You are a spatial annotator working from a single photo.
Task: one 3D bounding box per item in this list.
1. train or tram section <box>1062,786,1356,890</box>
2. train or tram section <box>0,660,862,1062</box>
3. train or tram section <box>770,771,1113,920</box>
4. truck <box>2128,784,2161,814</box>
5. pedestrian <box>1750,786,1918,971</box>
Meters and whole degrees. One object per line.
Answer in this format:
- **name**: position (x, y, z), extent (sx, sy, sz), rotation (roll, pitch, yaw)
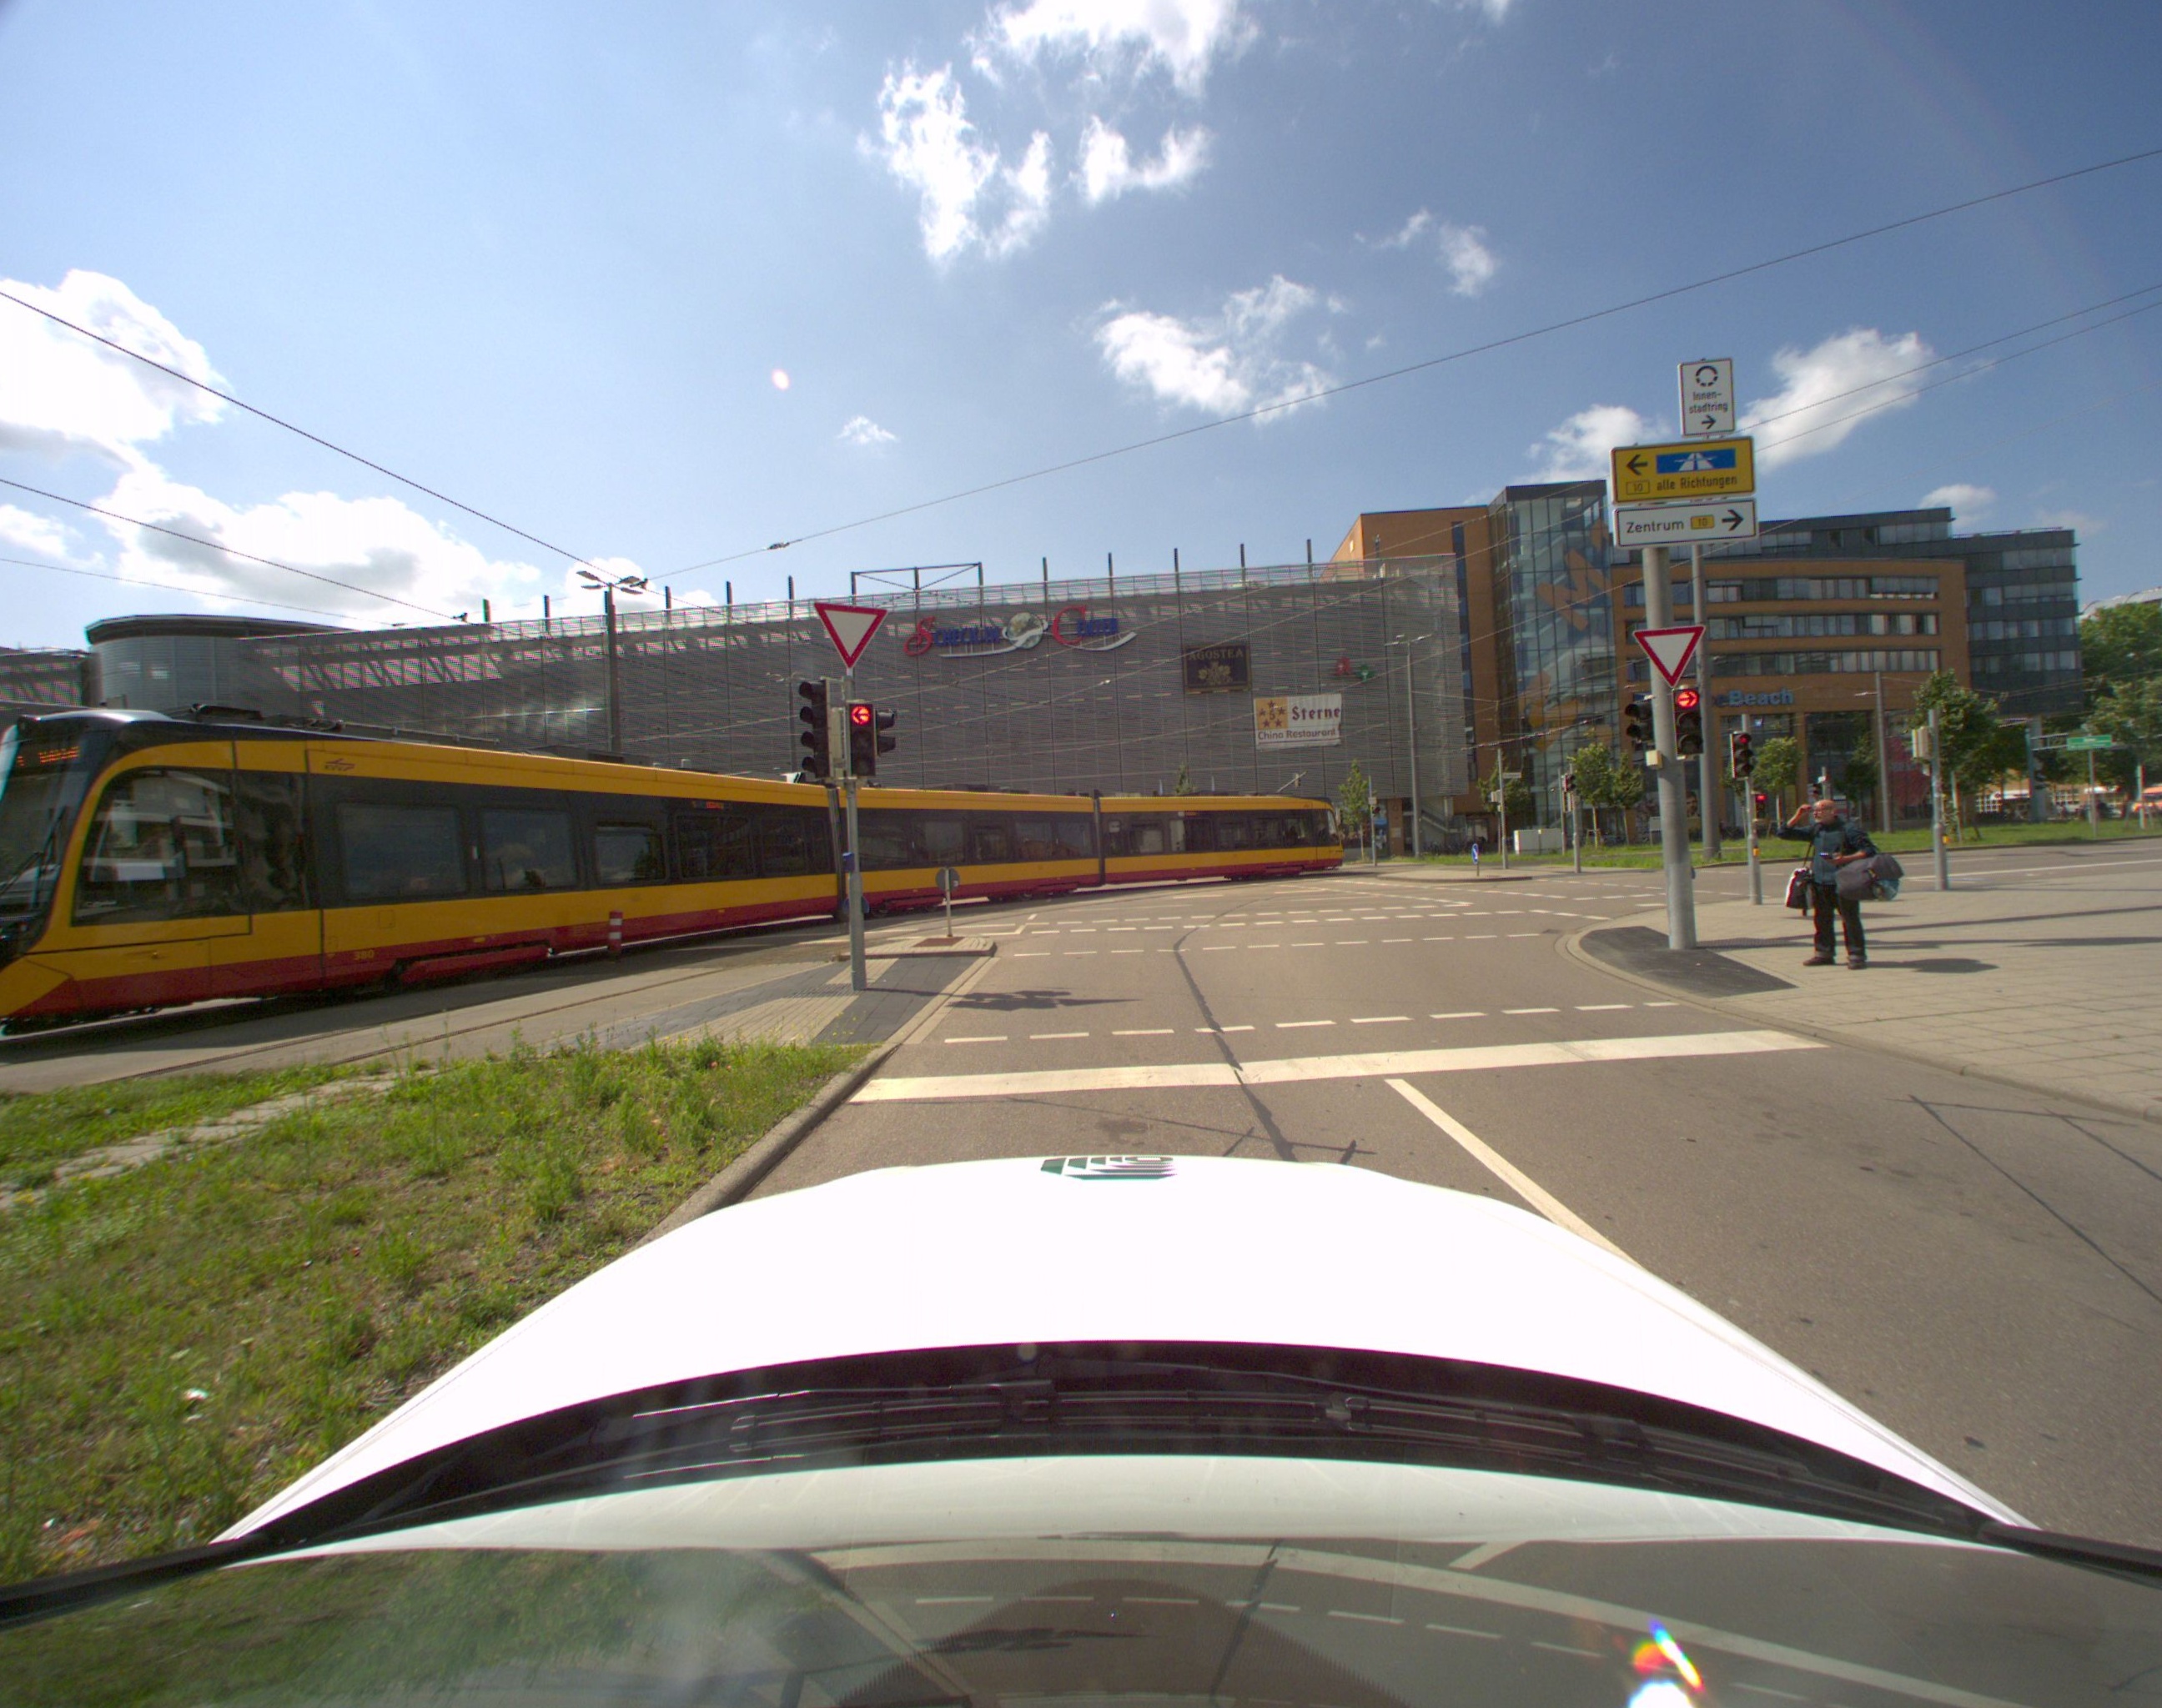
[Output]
- **train or tram section**: position (5.510, -0.748, 32.781), extent (12.678, 3.621, 3.035), rotation (-2, 0, -31)
- **train or tram section**: position (-9.085, -0.014, 14.184), extent (3.190, 3.599, 13.564), rotation (-2, 0, 18)
- **train or tram section**: position (-3.558, -0.309, 24.955), extent (3.025, 3.603, 11.063), rotation (-2, 0, 39)
- **truck**: position (78.657, -4.015, 58.682), extent (5.515, 2.085, 1.990), rotation (-2, 0, -15)
- **pedestrian**: position (7.491, 0.229, 8.130), extent (0.810, 1.702, 0.911), rotation (-4, -1, -25)
